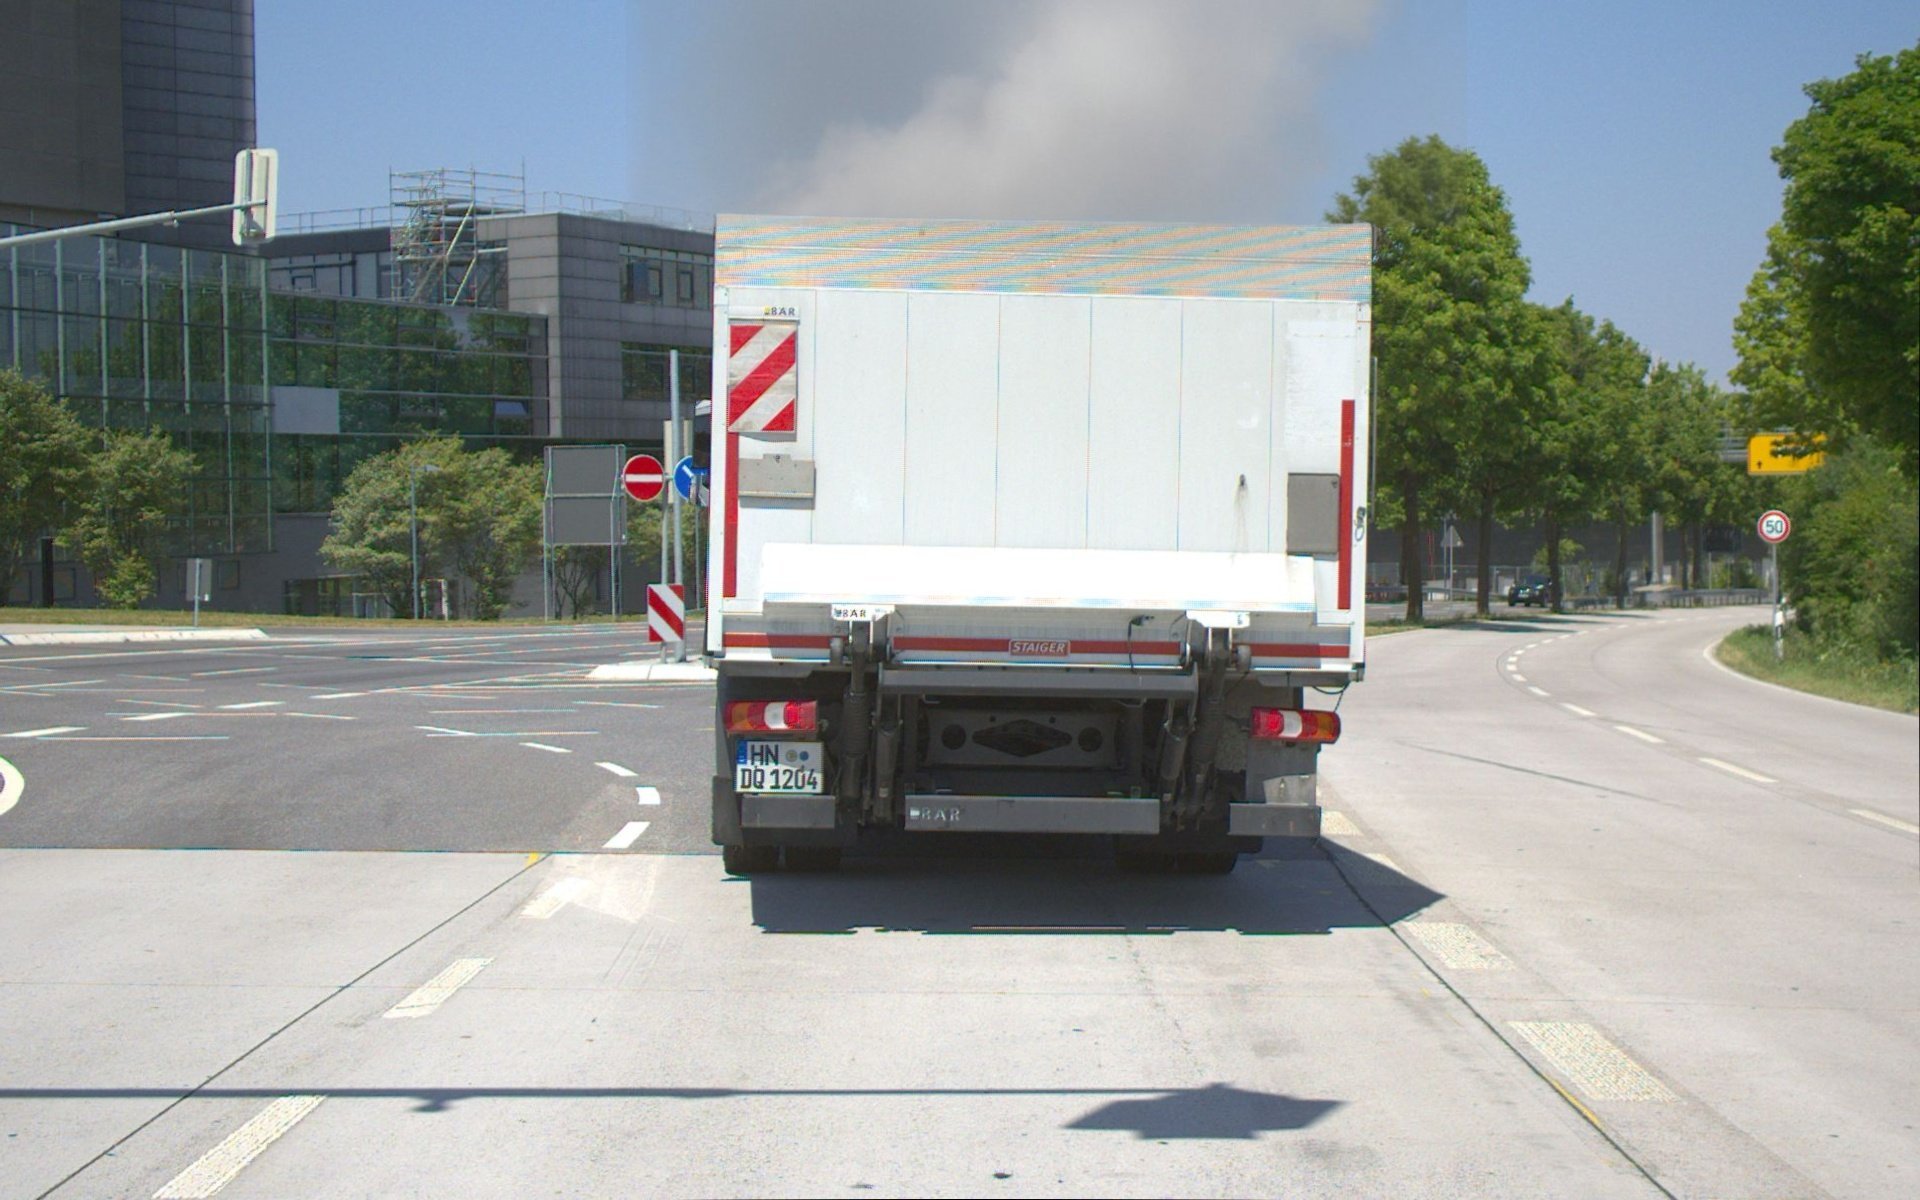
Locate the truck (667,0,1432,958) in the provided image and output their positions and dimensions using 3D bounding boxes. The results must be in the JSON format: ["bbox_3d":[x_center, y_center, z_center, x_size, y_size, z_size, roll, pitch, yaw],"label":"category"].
[{"bbox_3d":[0.029,-0.650,17.497,2.769,3.846,9.372,2,0,-4],"label":"truck"}]
